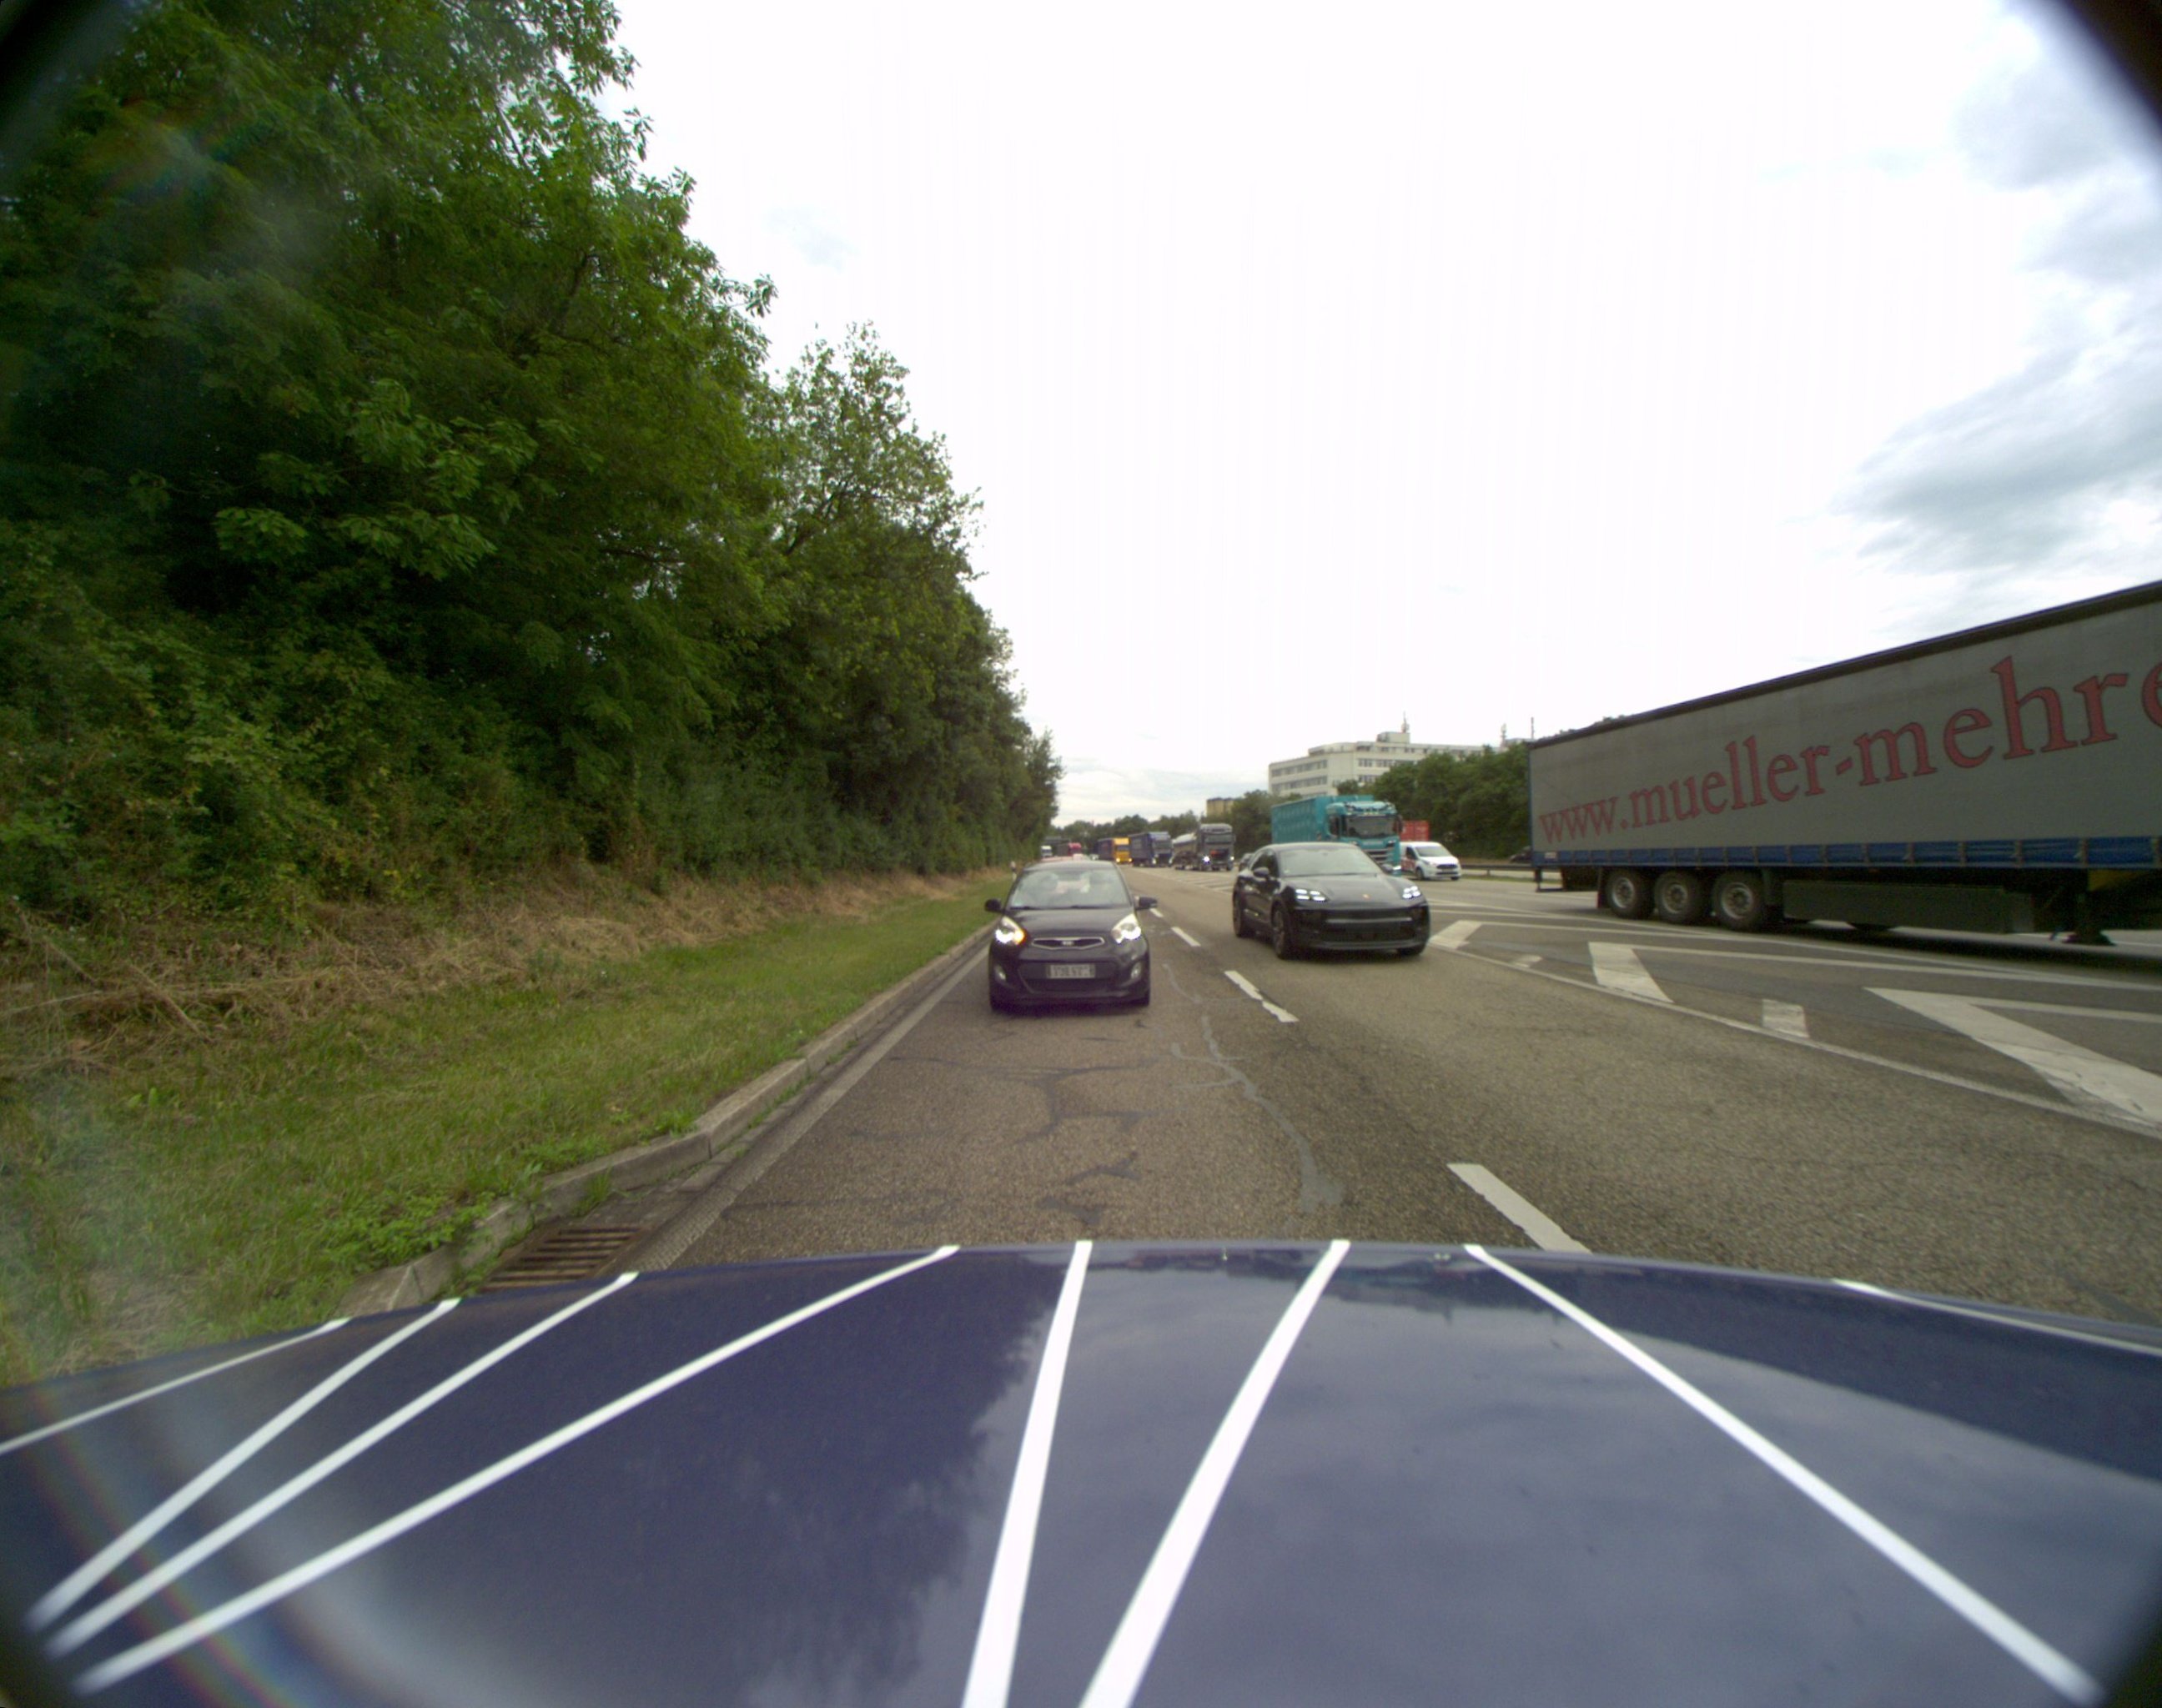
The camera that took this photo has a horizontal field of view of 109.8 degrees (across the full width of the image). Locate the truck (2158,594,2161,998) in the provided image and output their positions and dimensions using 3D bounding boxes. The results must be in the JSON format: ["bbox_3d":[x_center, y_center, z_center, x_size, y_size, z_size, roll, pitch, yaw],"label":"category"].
[{"bbox_3d":[11.871,-0.579,4.472,2.675,3.938,5.927,-1,0,0],"label":"truck"}]

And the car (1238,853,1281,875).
[{"bbox_3d":[11.241,0.606,48.135,1.757,1.314,3.999,-1,0,-1],"label":"car"}]

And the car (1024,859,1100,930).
[{"bbox_3d":[-0.431,0.894,18.389,1.631,1.492,3.563,-1,0,0],"label":"car"}]

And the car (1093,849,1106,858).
[{"bbox_3d":[3.455,-0.091,142.083,1.700,1.704,3.864,-1,0,-9],"label":"car"}]

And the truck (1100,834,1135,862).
[{"bbox_3d":[5.612,-0.937,121.080,2.848,4.206,14.110,-1,0,-8],"label":"truck"}]

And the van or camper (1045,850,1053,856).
[{"bbox_3d":[-8.452,-0.306,201.619,1.707,1.685,3.824,-1,0,-9],"label":"van or camper"}]

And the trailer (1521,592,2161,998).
[{"bbox_3d":[11.882,-0.604,11.219,2.680,3.951,13.919,-1,0,0],"label":"trailer"}]

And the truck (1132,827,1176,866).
[{"bbox_3d":[8.517,-0.850,90.645,2.814,4.206,14.000,-1,0,-4],"label":"truck"}]

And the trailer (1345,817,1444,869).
[{"bbox_3d":[26.939,-0.899,66.308,2.772,4.040,13.350,-1,0,-2],"label":"trailer"}]

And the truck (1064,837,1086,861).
[{"bbox_3d":[-1.515,-1.029,168.084,2.848,5.070,14.110,-1,0,-8],"label":"truck"}]

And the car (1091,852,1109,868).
[{"bbox_3d":[1.786,0.543,73.191,1.601,1.543,3.302,-1,0,0],"label":"car"}]

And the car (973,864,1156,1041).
[{"bbox_3d":[-0.118,0.897,8.728,1.584,1.485,4.000,-2,0,1],"label":"car"}]

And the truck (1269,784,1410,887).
[{"bbox_3d":[11.401,-0.732,34.835,2.700,3.977,10.123,-1,0,-2],"label":"truck"}]

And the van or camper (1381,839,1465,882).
[{"bbox_3d":[16.175,0.267,36.188,1.720,1.881,4.590,-1,0,-3],"label":"van or camper"}]

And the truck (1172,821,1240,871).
[{"bbox_3d":[10.714,-0.682,67.018,3.328,3.902,13.142,-1,0,-2],"label":"truck"}]

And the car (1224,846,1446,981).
[{"bbox_3d":[3.605,0.719,11.813,1.906,1.653,4.752,-1,0,1],"label":"car"}]

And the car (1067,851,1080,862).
[{"bbox_3d":[-1.209,0.416,119.791,1.615,1.657,3.143,-1,0,-8],"label":"car"}]
